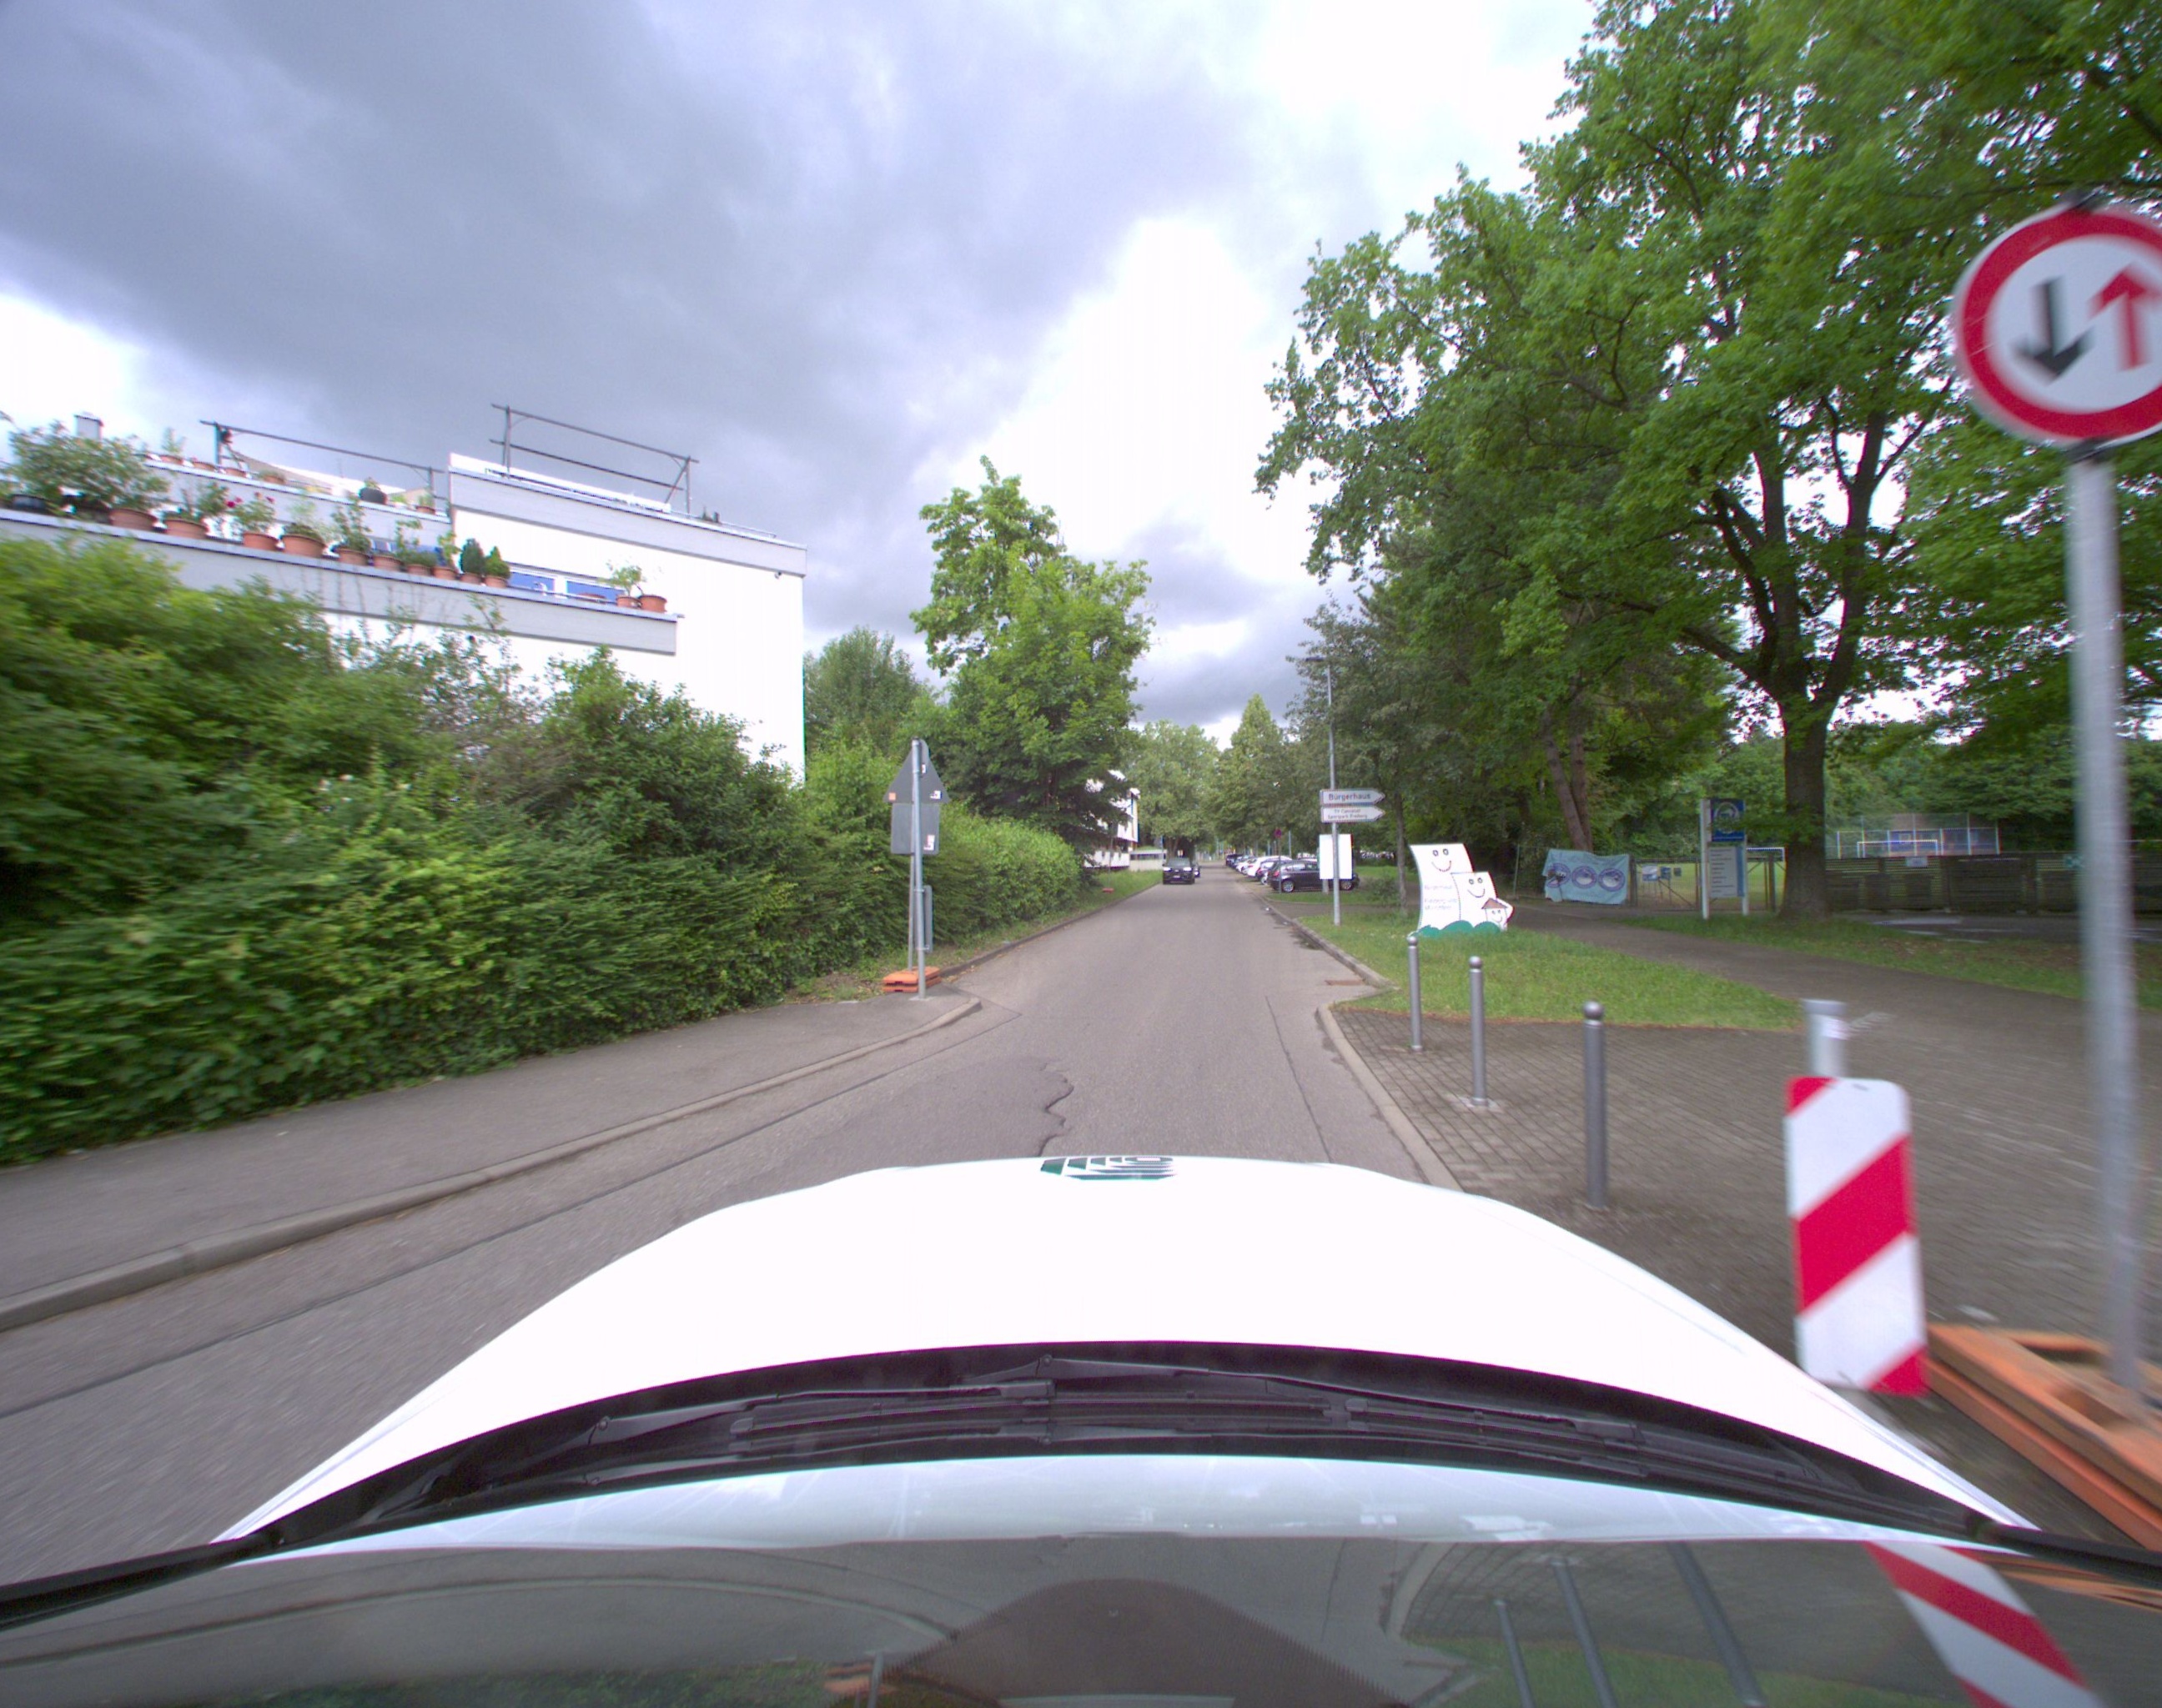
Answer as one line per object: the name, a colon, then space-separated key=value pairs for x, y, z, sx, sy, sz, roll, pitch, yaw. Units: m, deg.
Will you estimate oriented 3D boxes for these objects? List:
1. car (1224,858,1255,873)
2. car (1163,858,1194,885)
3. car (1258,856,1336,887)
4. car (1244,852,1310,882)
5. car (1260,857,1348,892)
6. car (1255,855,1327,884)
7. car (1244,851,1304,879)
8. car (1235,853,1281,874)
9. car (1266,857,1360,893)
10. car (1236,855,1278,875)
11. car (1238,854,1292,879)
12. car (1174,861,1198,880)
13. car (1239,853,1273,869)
car: x=22.949 y=1.698 z=118.079 sx=4.043 sy=1.771 sz=1.825 roll=-5 pitch=-1 yaw=5
car: x=6.621 y=1.168 z=55.098 sx=1.957 sy=1.747 sz=4.348 roll=-1 pitch=-1 yaw=8
car: x=12.196 y=0.989 z=46.266 sx=4.040 sy=1.568 sz=1.827 roll=-3 pitch=-1 yaw=8
car: x=13.392 y=0.862 z=55.886 sx=4.043 sy=1.687 sz=1.825 roll=-5 pitch=-1 yaw=5
car: x=11.242 y=1.044 z=41.320 sx=4.040 sy=1.568 sz=1.826 roll=-3 pitch=-3 yaw=8
car: x=13.060 y=0.964 z=50.852 sx=4.043 sy=1.488 sz=1.825 roll=-5 pitch=-1 yaw=5
car: x=14.156 y=0.817 z=59.904 sx=4.043 sy=1.687 sz=1.825 roll=-5 pitch=-1 yaw=5
car: x=17.245 y=0.948 z=79.400 sx=4.043 sy=1.687 sz=1.825 roll=-5 pitch=-1 yaw=5
car: x=10.915 y=1.008 z=38.582 sx=4.040 sy=1.434 sz=2.004 roll=-3 pitch=-3 yaw=8
car: x=18.375 y=1.115 z=85.056 sx=4.043 sy=1.687 sz=1.825 roll=-5 pitch=-1 yaw=5
car: x=14.941 y=1.009 z=66.316 sx=4.043 sy=1.687 sz=1.825 roll=-5 pitch=-1 yaw=5
car: x=9.326 y=1.464 z=71.984 sx=1.957 sy=1.575 sz=4.348 roll=-1 pitch=-1 yaw=8
car: x=22.500 y=0.927 z=104.746 sx=4.043 sy=1.771 sz=1.825 roll=-5 pitch=-1 yaw=5
